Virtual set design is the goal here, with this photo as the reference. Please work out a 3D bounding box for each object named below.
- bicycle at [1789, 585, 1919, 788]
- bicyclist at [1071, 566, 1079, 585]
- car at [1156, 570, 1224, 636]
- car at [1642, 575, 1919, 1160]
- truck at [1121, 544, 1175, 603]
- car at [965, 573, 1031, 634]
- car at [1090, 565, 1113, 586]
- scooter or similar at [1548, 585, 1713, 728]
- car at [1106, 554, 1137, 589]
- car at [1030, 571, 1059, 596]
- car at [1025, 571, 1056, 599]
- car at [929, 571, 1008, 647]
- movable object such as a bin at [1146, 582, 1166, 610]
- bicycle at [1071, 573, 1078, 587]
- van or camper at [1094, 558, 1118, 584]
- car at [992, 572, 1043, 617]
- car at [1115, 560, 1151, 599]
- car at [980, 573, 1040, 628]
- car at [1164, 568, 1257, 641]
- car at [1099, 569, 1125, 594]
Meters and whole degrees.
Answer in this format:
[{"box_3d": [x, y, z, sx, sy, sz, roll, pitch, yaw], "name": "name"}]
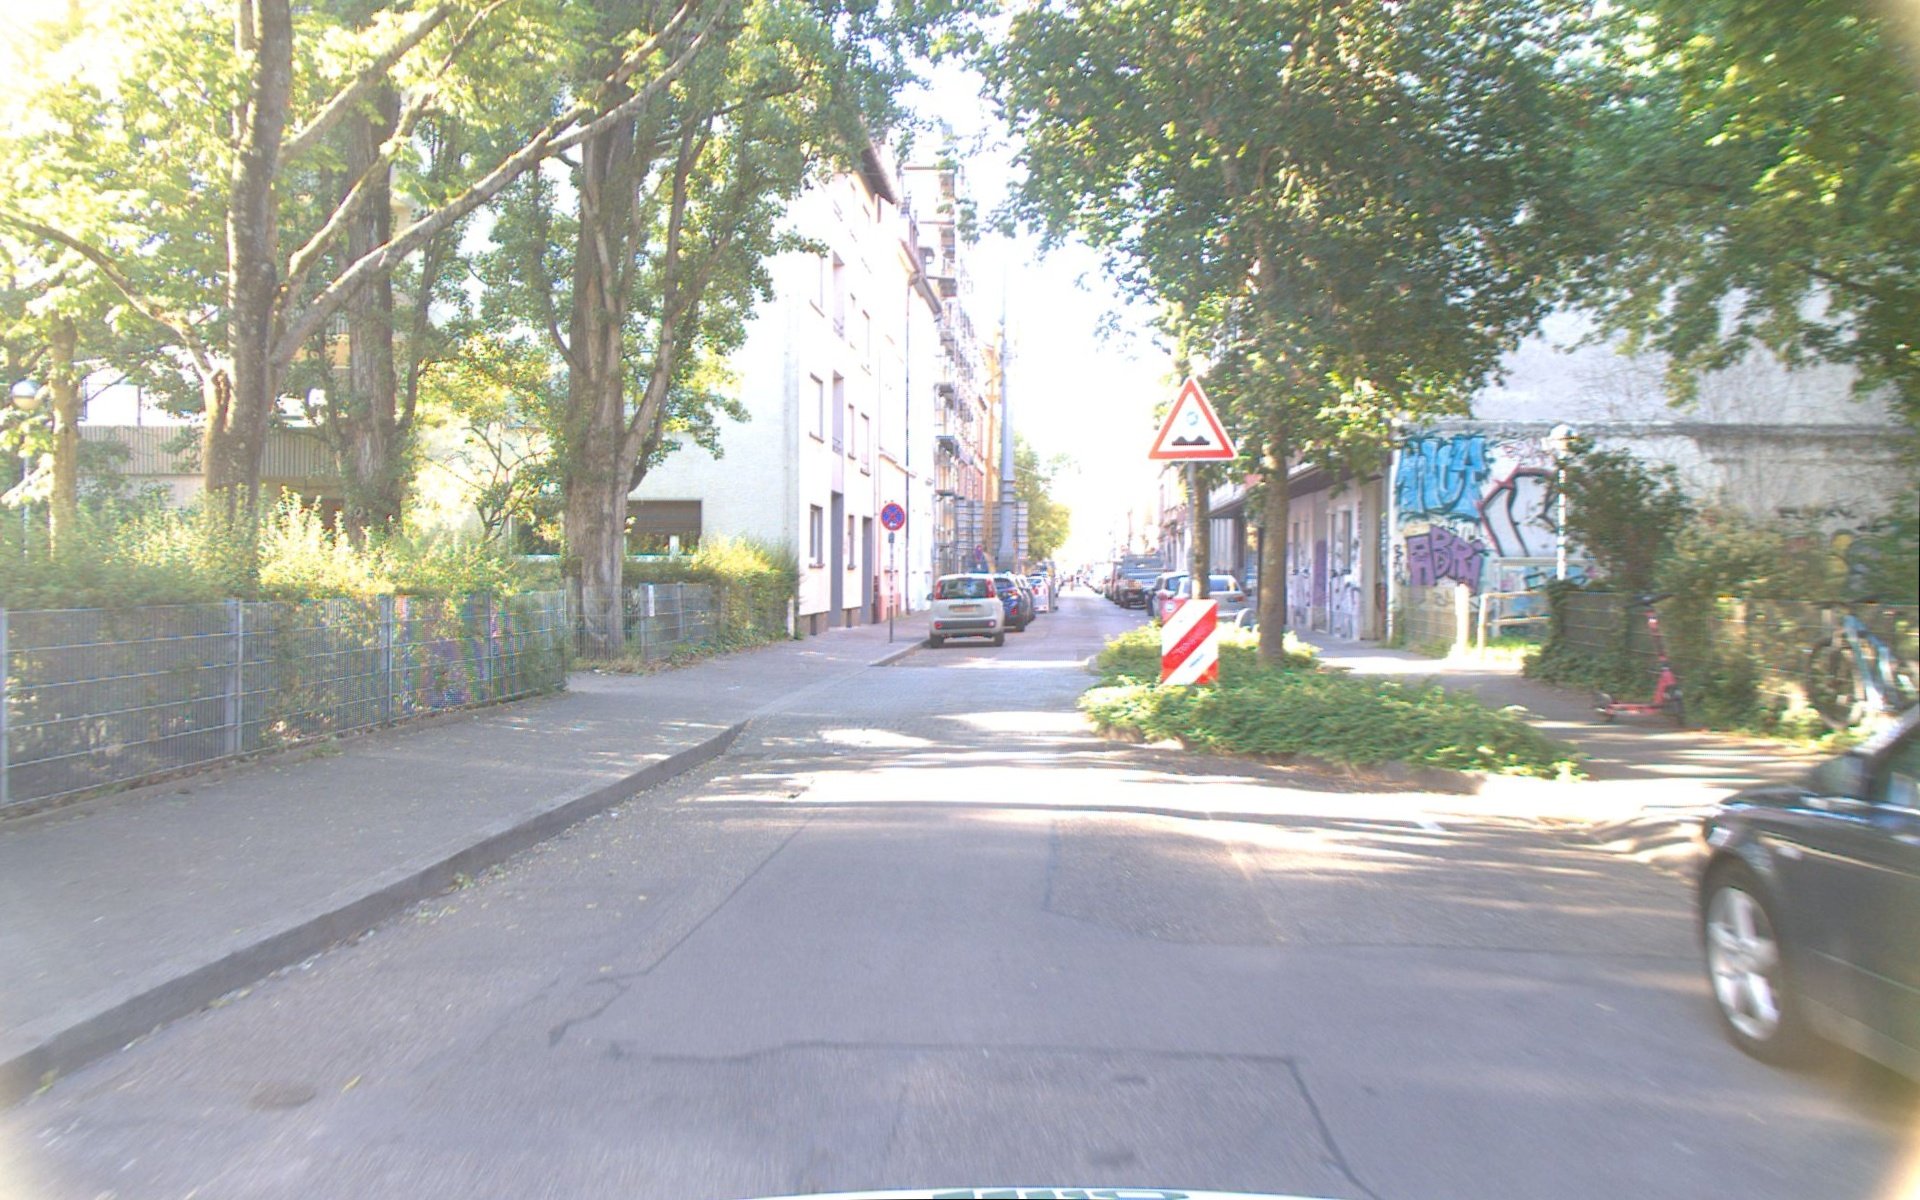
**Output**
[{"box_3d": [6.832, 0.569, 11.694, 0.829, 1.290, 2.694, 0, 1, 6], "name": "bicycle"}, {"box_3d": [10.951, -2.347, 157.912, 0.715, 1.792, 0.836, 1, 1, 4], "name": "bicyclist"}, {"box_3d": [6.120, 0.041, 44.354, 1.605, 1.685, 3.872, 0, 1, 5], "name": "car"}, {"box_3d": [3.361, 0.709, 3.953, 1.685, 1.520, 4.415, -1, 1, 1], "name": "car"}, {"box_3d": [8.749, -1.240, 77.159, 2.144, 2.652, 5.237, -1, 1, 3], "name": "truck"}, {"box_3d": [1.077, 0.056, 45.609, 1.693, 1.566, 4.379, -1, 1, 2], "name": "car"}, {"box_3d": [13.040, -2.281, 152.743, 1.952, 1.881, 4.002, -1, 1, 3], "name": "car"}, {"box_3d": [6.379, 0.509, 15.811, 0.538, 1.284, 1.460, -2, 1, -26], "name": "scooter or similar"}, {"box_3d": [9.749, -1.717, 100.142, 1.640, 2.066, 3.870, -1, 1, 2], "name": "car"}, {"box_3d": [4.997, -1.002, 98.466, 1.640, 1.470, 3.870, 0, 1, 2], "name": "car"}, {"box_3d": [4.342, -0.835, 89.670, 1.640, 1.470, 3.870, 0, 1, 2], "name": "car"}, {"box_3d": [0.234, 0.171, 36.812, 1.640, 1.566, 3.870, -1, 1, 2], "name": "car"}, {"box_3d": [7.696, -0.164, 64.948, 0.778, 1.074, 0.660, 0, 1, 4], "name": "movable object such as a bin"}, {"box_3d": [10.929, -1.912, 157.787, 0.709, 1.207, 2.044, 1, 2, 4], "name": "bicycle"}, {"box_3d": [14.686, -2.936, 166.544, 1.953, 2.552, 4.202, -1, 1, 0], "name": "van or camper"}, {"box_3d": [2.031, -0.217, 57.402, 1.639, 1.503, 4.610, 0, 1, 4], "name": "car"}, {"box_3d": [9.153, -1.094, 87.669, 1.640, 1.997, 4.110, 0, 1, 2], "name": "car"}, {"box_3d": [1.563, -0.017, 50.539, 1.639, 1.538, 4.417, -1, 1, 4], "name": "car"}, {"box_3d": [5.706, 0.064, 38.058, 1.685, 1.589, 4.400, 0, 1, 3], "name": "car"}, {"box_3d": [12.691, -1.533, 138.280, 1.952, 2.048, 4.002, 0, 1, 3], "name": "car"}]
